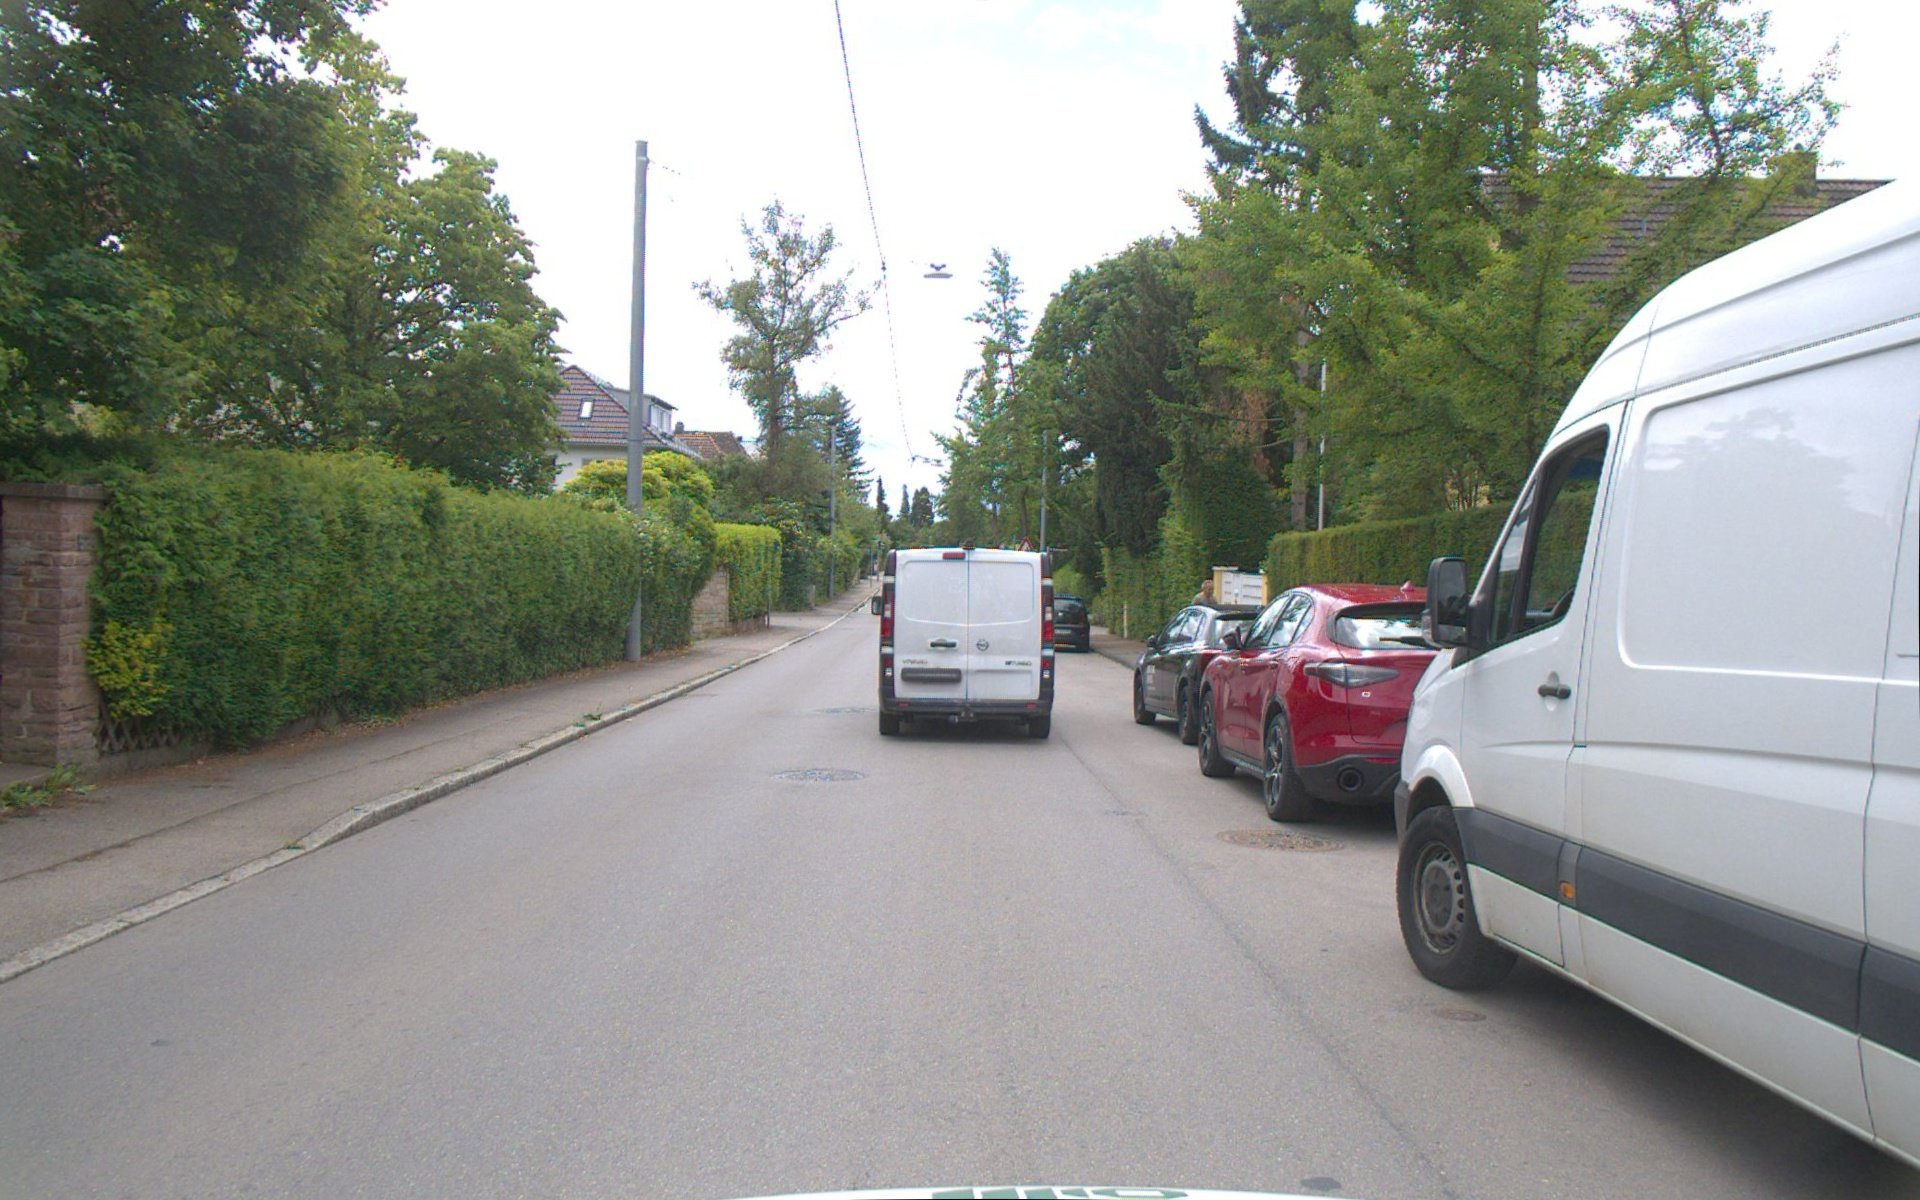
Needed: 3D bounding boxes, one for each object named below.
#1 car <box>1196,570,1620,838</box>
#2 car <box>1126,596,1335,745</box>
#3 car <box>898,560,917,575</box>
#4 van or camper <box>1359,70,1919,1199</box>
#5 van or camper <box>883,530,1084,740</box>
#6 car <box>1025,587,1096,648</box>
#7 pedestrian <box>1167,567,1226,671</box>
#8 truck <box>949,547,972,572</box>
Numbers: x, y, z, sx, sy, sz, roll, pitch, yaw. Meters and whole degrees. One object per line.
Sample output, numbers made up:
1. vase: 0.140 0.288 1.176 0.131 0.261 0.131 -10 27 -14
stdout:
1. car: 3.063 0.602 12.415 1.850 1.608 4.765 -1 1 -1
2. car: 2.903 0.699 18.543 1.644 1.431 4.053 -1 1 -1
3. car: -5.512 -3.428 174.303 1.768 1.456 4.302 -1 2 2
4. van or camper: 3.037 0.203 4.050 2.000 2.665 7.035 2 1 -3
5. van or camper: 0.159 0.321 18.559 1.900 1.988 4.764 2 1 -2
6. car: 2.677 0.429 44.782 1.590 1.498 3.740 2 1 -1
7. pedestrian: 4.015 0.305 28.112 0.659 1.728 0.913 0 1 -18
8. truck: 0.038 -4.347 175.076 2.143 2.514 7.430 2 2 -1
